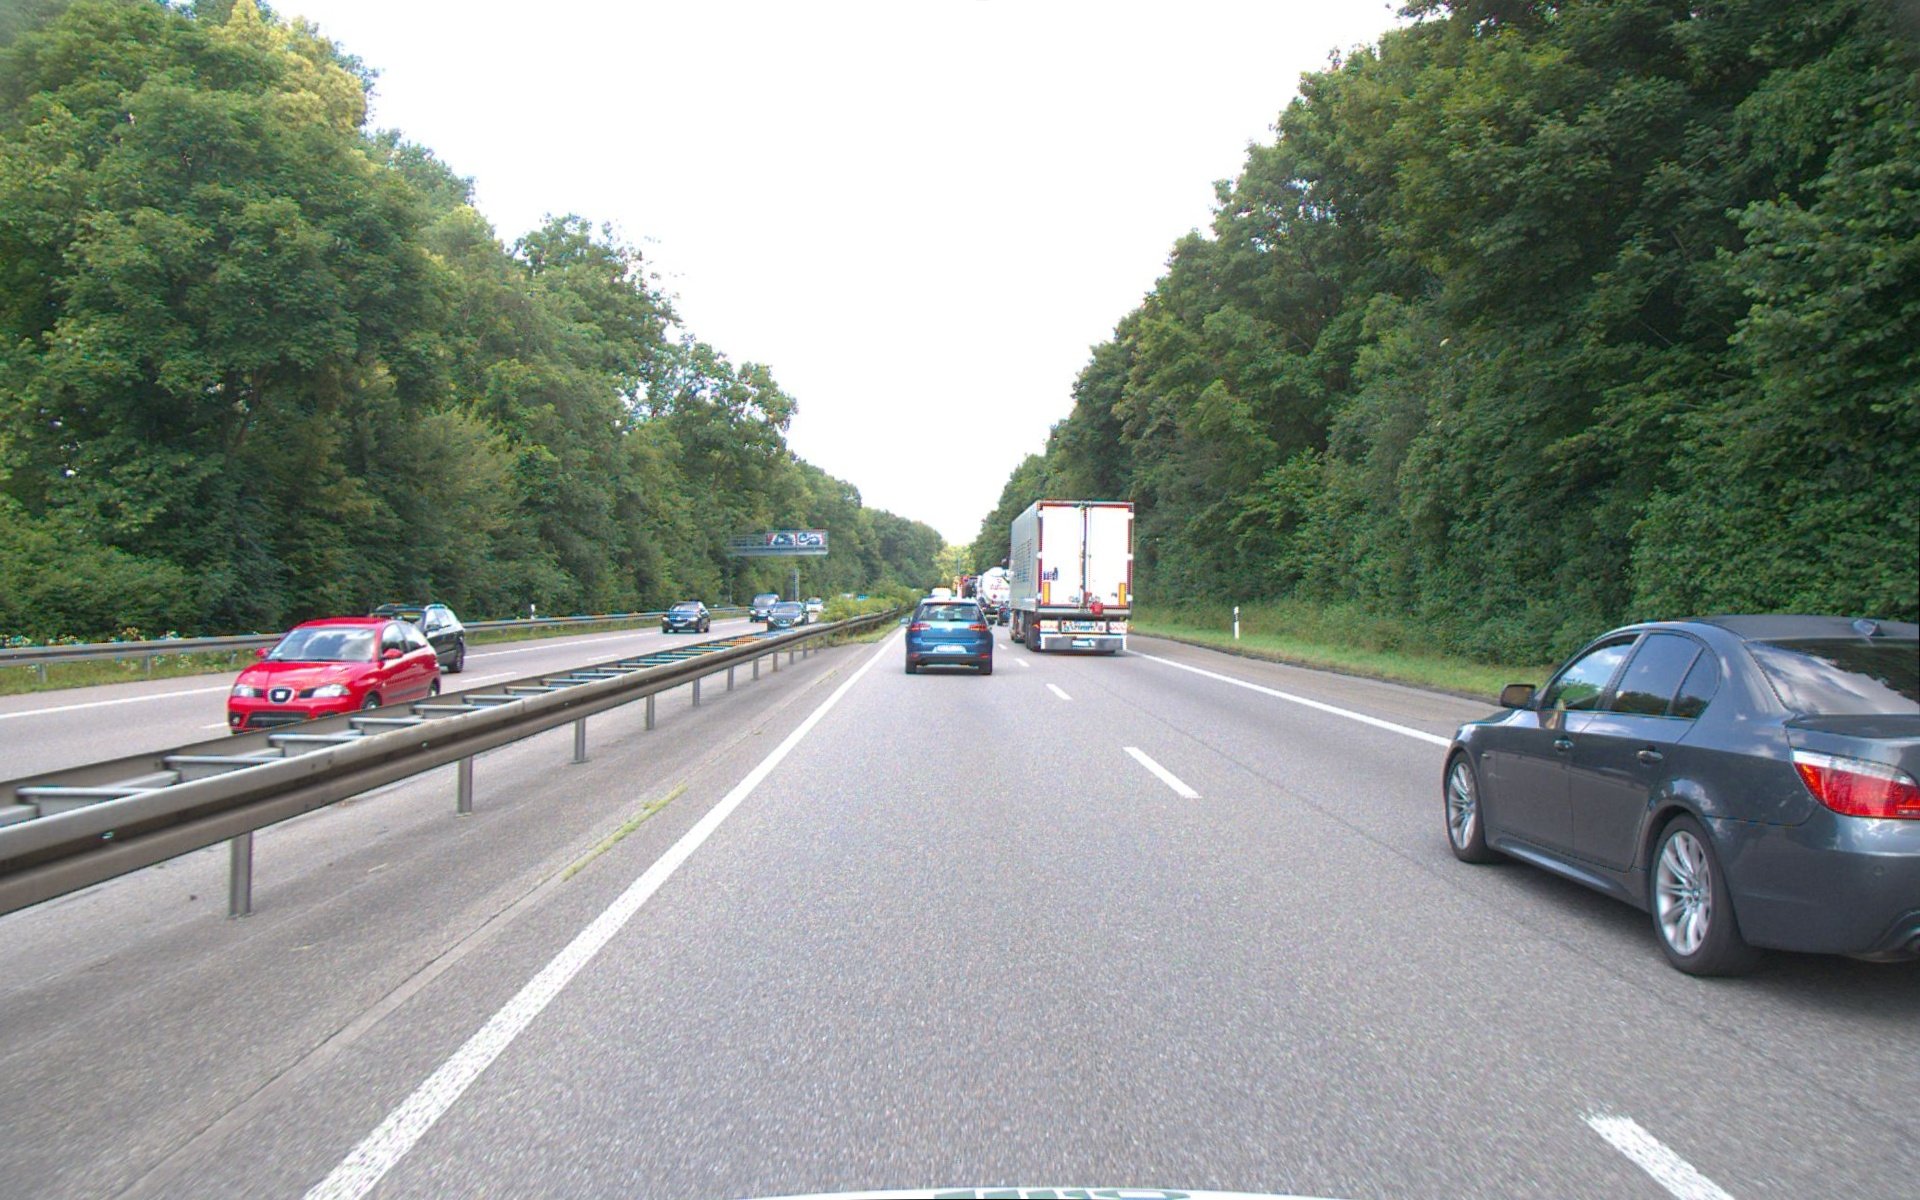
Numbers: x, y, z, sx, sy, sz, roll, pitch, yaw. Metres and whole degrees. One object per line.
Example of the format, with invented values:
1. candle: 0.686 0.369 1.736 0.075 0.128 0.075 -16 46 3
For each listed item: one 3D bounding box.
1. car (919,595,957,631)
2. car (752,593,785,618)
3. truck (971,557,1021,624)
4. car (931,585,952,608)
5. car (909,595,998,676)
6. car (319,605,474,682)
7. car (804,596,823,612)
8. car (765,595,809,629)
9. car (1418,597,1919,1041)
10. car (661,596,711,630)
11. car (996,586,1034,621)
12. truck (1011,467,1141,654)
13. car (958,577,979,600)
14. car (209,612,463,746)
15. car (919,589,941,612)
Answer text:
1. car: -0.963 0.540 73.202 1.631 1.526 4.151 0 0 0
2. car: -12.767 0.369 110.409 1.724 1.621 4.632 1 0 -1
3. truck: 2.445 -0.611 116.756 3.166 4.463 12.968 0 0 0
4. car: -1.893 -0.400 170.682 1.954 2.294 4.439 -1 0 -3
5. car: -0.159 0.669 33.328 1.670 1.495 3.999 1 0 -1
6. car: -12.026 0.882 35.636 1.749 1.504 4.569 1 0 0
7. car: -14.099 0.366 159.446 1.506 1.421 3.510 -1 0 -1
8. car: -8.335 0.566 79.981 1.745 1.546 4.265 -1 0 -1
9. car: 3.831 0.753 8.107 1.738 1.501 4.879 1 0 -1
10. car: -13.016 0.597 78.861 1.646 1.546 4.858 -1 0 -1
11. car: 2.901 0.176 87.762 1.850 1.759 4.000 -1 0 0
12. truck: 3.160 -1.062 48.340 3.175 4.798 11.008 -1 0 1
13. car: 0.899 -1.173 173.289 1.954 2.368 4.439 -1 0 -3
14. car: -7.784 0.924 21.047 1.644 1.480 4.127 1 0 0
15. car: -2.665 0.039 147.347 1.953 2.049 3.999 -1 0 -1
